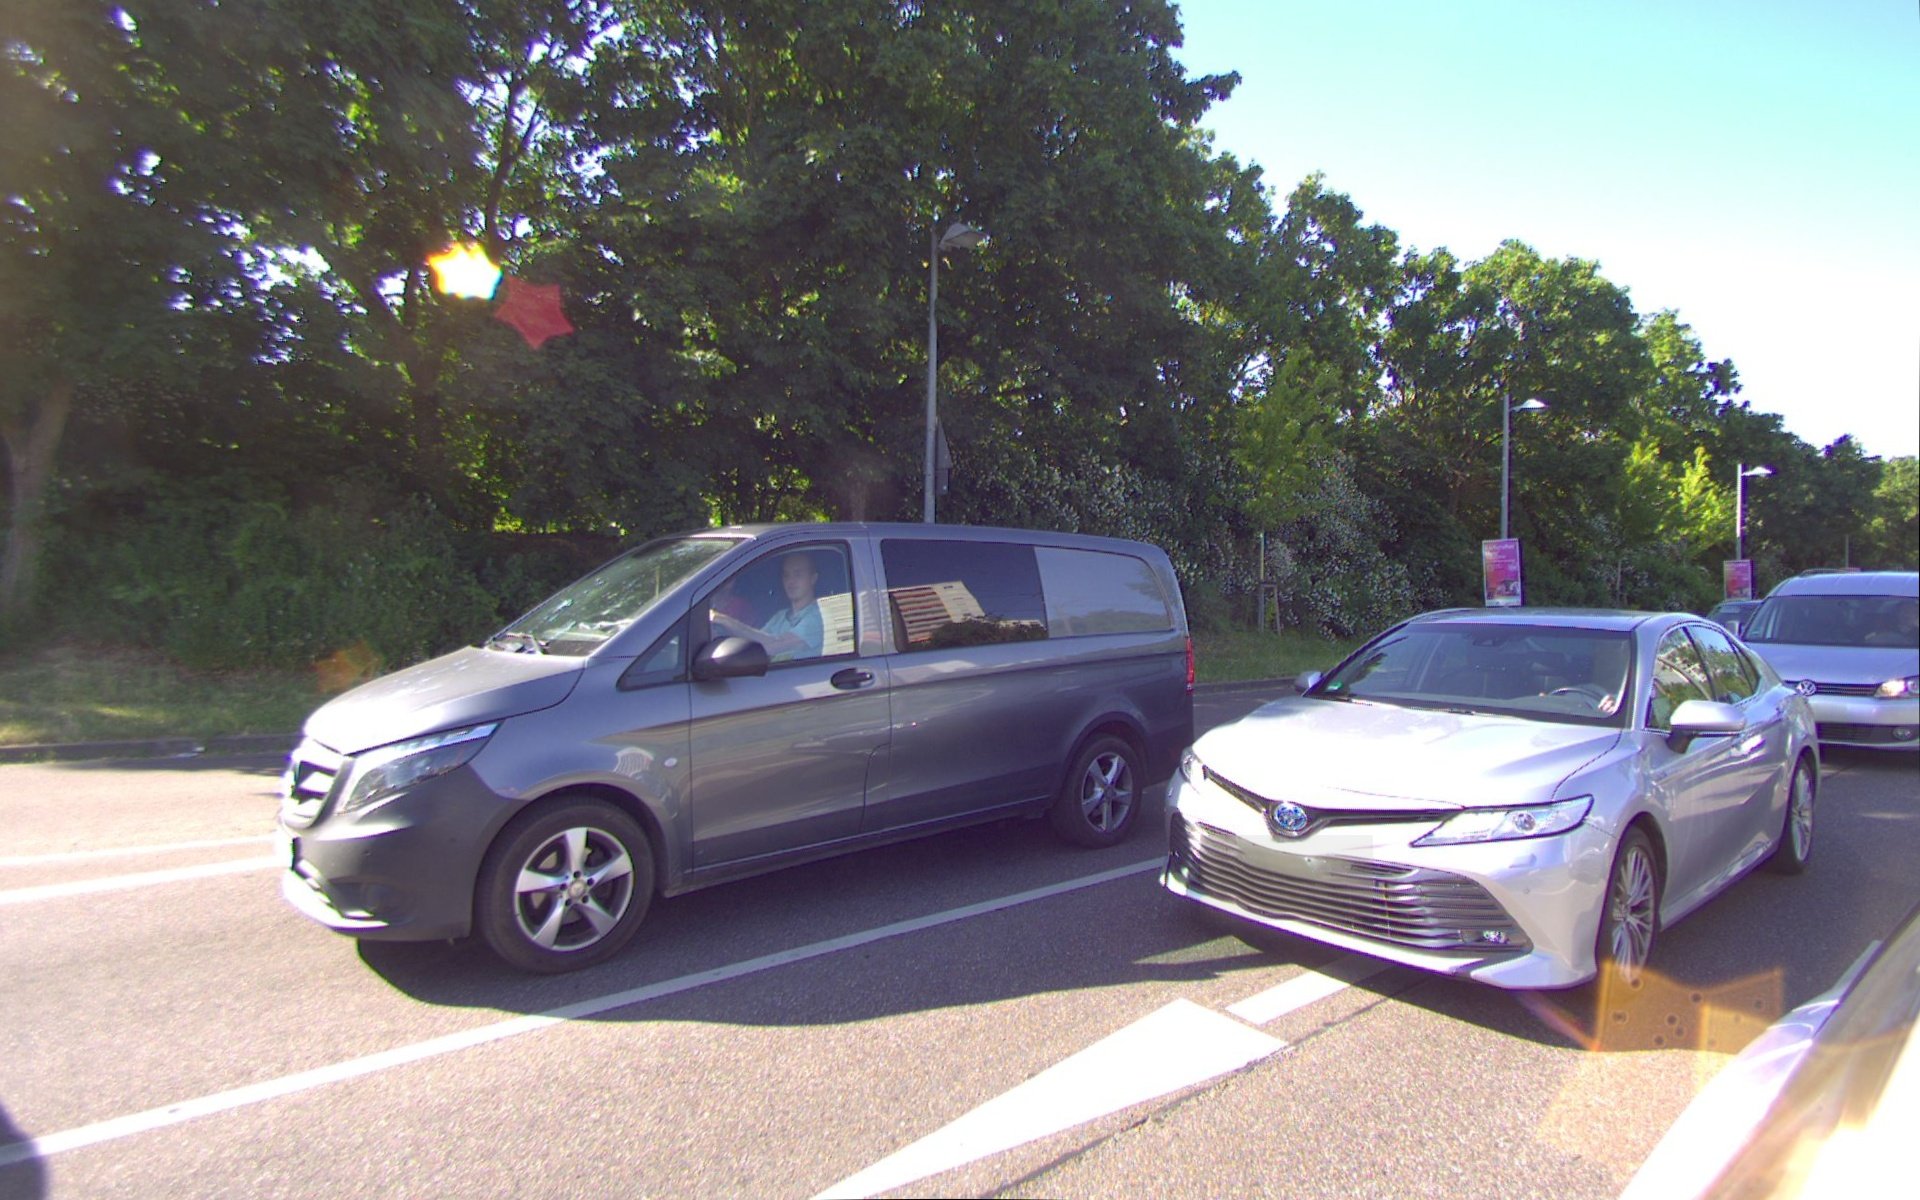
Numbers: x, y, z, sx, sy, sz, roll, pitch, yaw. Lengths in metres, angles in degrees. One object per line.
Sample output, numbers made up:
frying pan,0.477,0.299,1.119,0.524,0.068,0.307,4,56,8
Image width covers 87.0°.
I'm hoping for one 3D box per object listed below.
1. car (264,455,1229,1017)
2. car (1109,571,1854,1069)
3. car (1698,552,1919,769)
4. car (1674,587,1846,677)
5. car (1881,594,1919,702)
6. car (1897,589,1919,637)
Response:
car,-0.787,0.425,5.665,5.011,1.875,1.809,0,2,-39
car,2.992,0.665,5.256,4.599,1.512,1.808,0,0,-40
car,9.508,0.486,10.556,4.504,1.844,1.809,-1,1,-39
car,15.310,0.526,19.290,4.151,1.527,1.771,-1,0,-40
car,14.999,0.678,14.924,4.126,1.472,1.715,0,1,-43
car,31.372,0.400,32.289,4.098,1.457,1.713,0,1,-41
